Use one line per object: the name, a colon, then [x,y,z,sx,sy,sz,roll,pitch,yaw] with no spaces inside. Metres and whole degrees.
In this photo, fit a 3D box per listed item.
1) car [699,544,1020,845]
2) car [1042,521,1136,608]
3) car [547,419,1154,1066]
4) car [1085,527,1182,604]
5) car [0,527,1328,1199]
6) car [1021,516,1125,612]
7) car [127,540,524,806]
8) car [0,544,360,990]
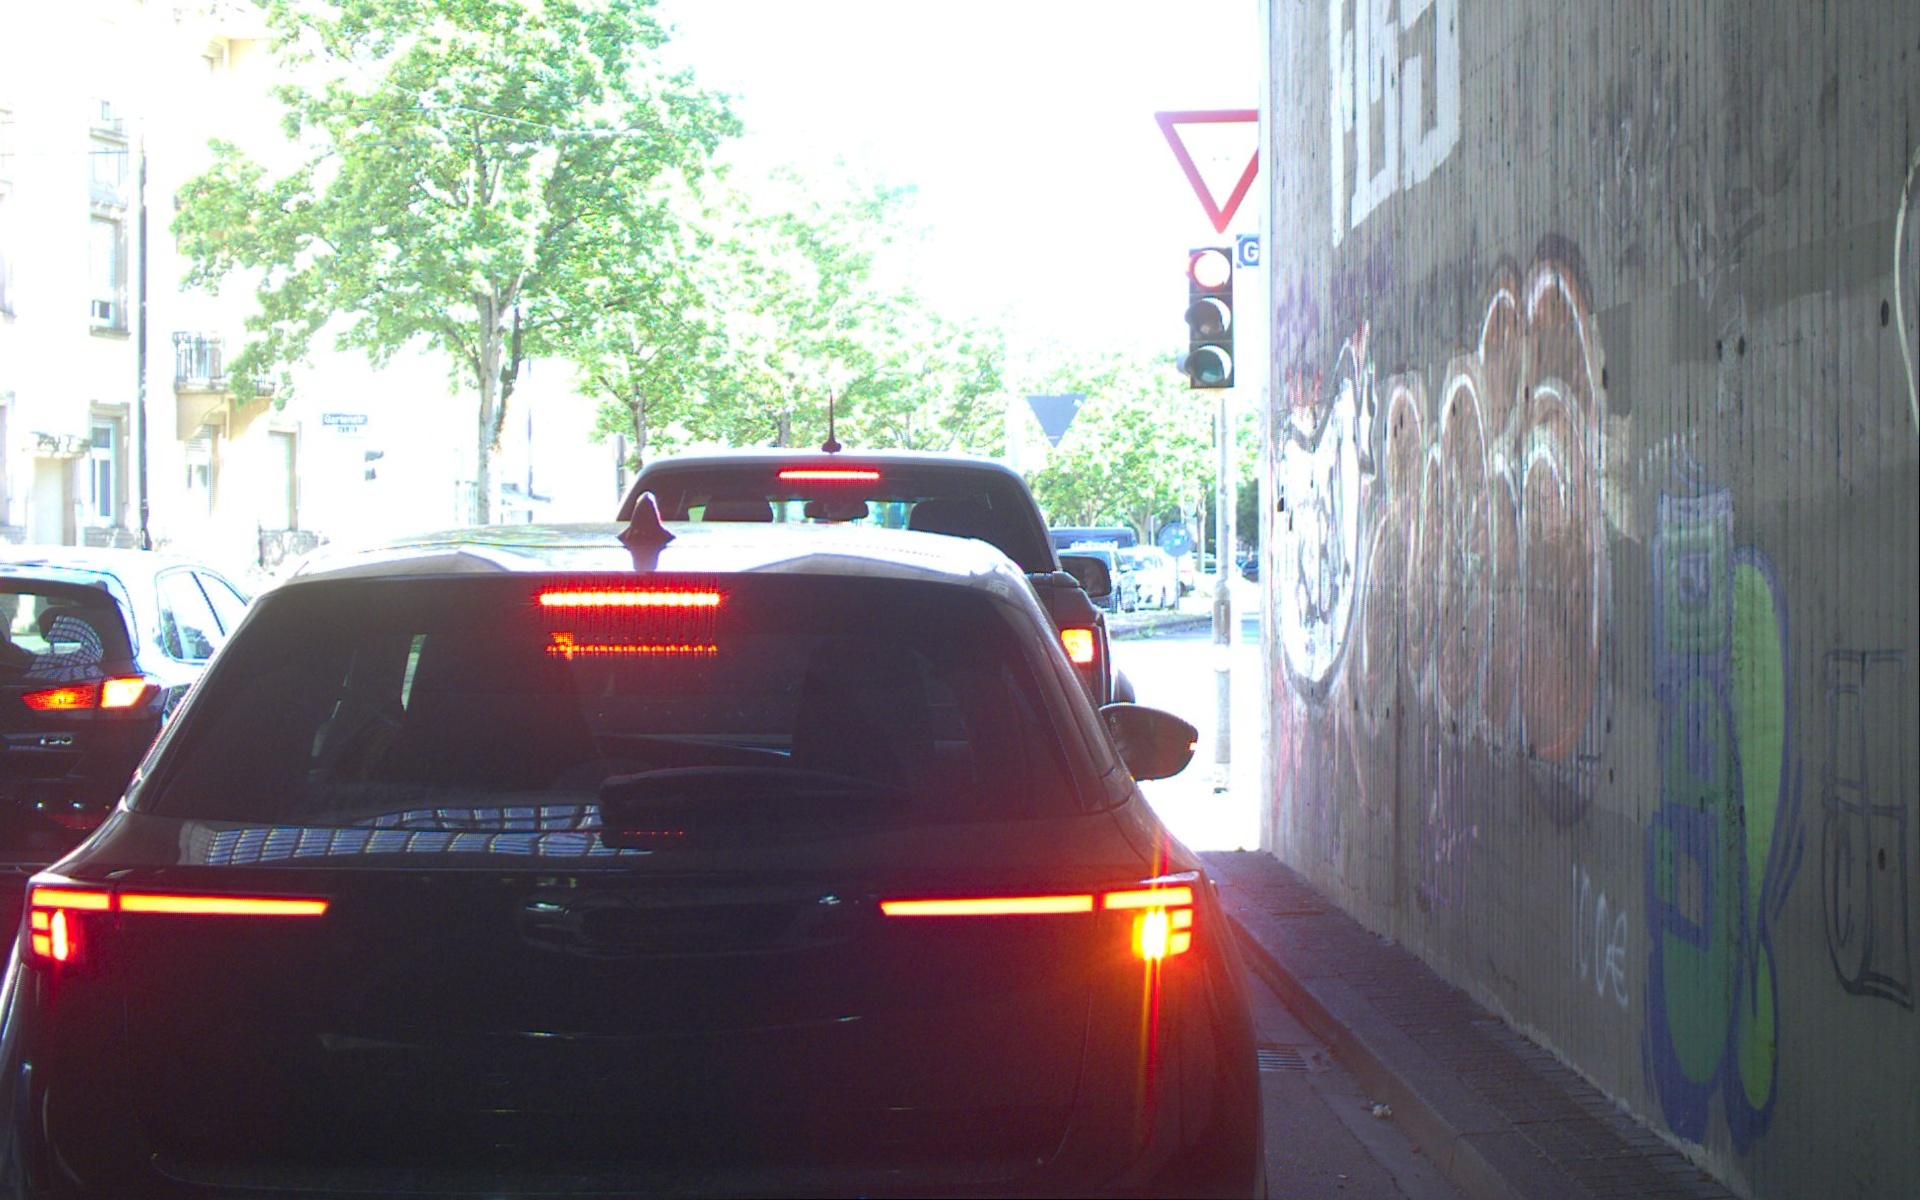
car: [-0.529,0.444,19.287,1.609,1.508,4.054,0,1,-1]
car: [2.595,-0.700,68.342,1.754,1.661,3.944,1,1,3]
car: [-0.342,0.382,12.067,1.762,1.876,4.146,0,1,-1]
car: [3.909,-0.768,76.993,1.754,1.661,3.943,1,1,9]
car: [-0.470,0.644,6.127,1.762,1.526,4.089,0,1,-1]
car: [2.076,-0.646,62.223,1.754,1.661,3.944,1,1,3]
car: [-3.771,0.376,21.038,1.762,1.475,3.844,0,1,-1]
car: [-3.520,0.523,13.314,1.762,1.475,3.844,0,1,-1]
